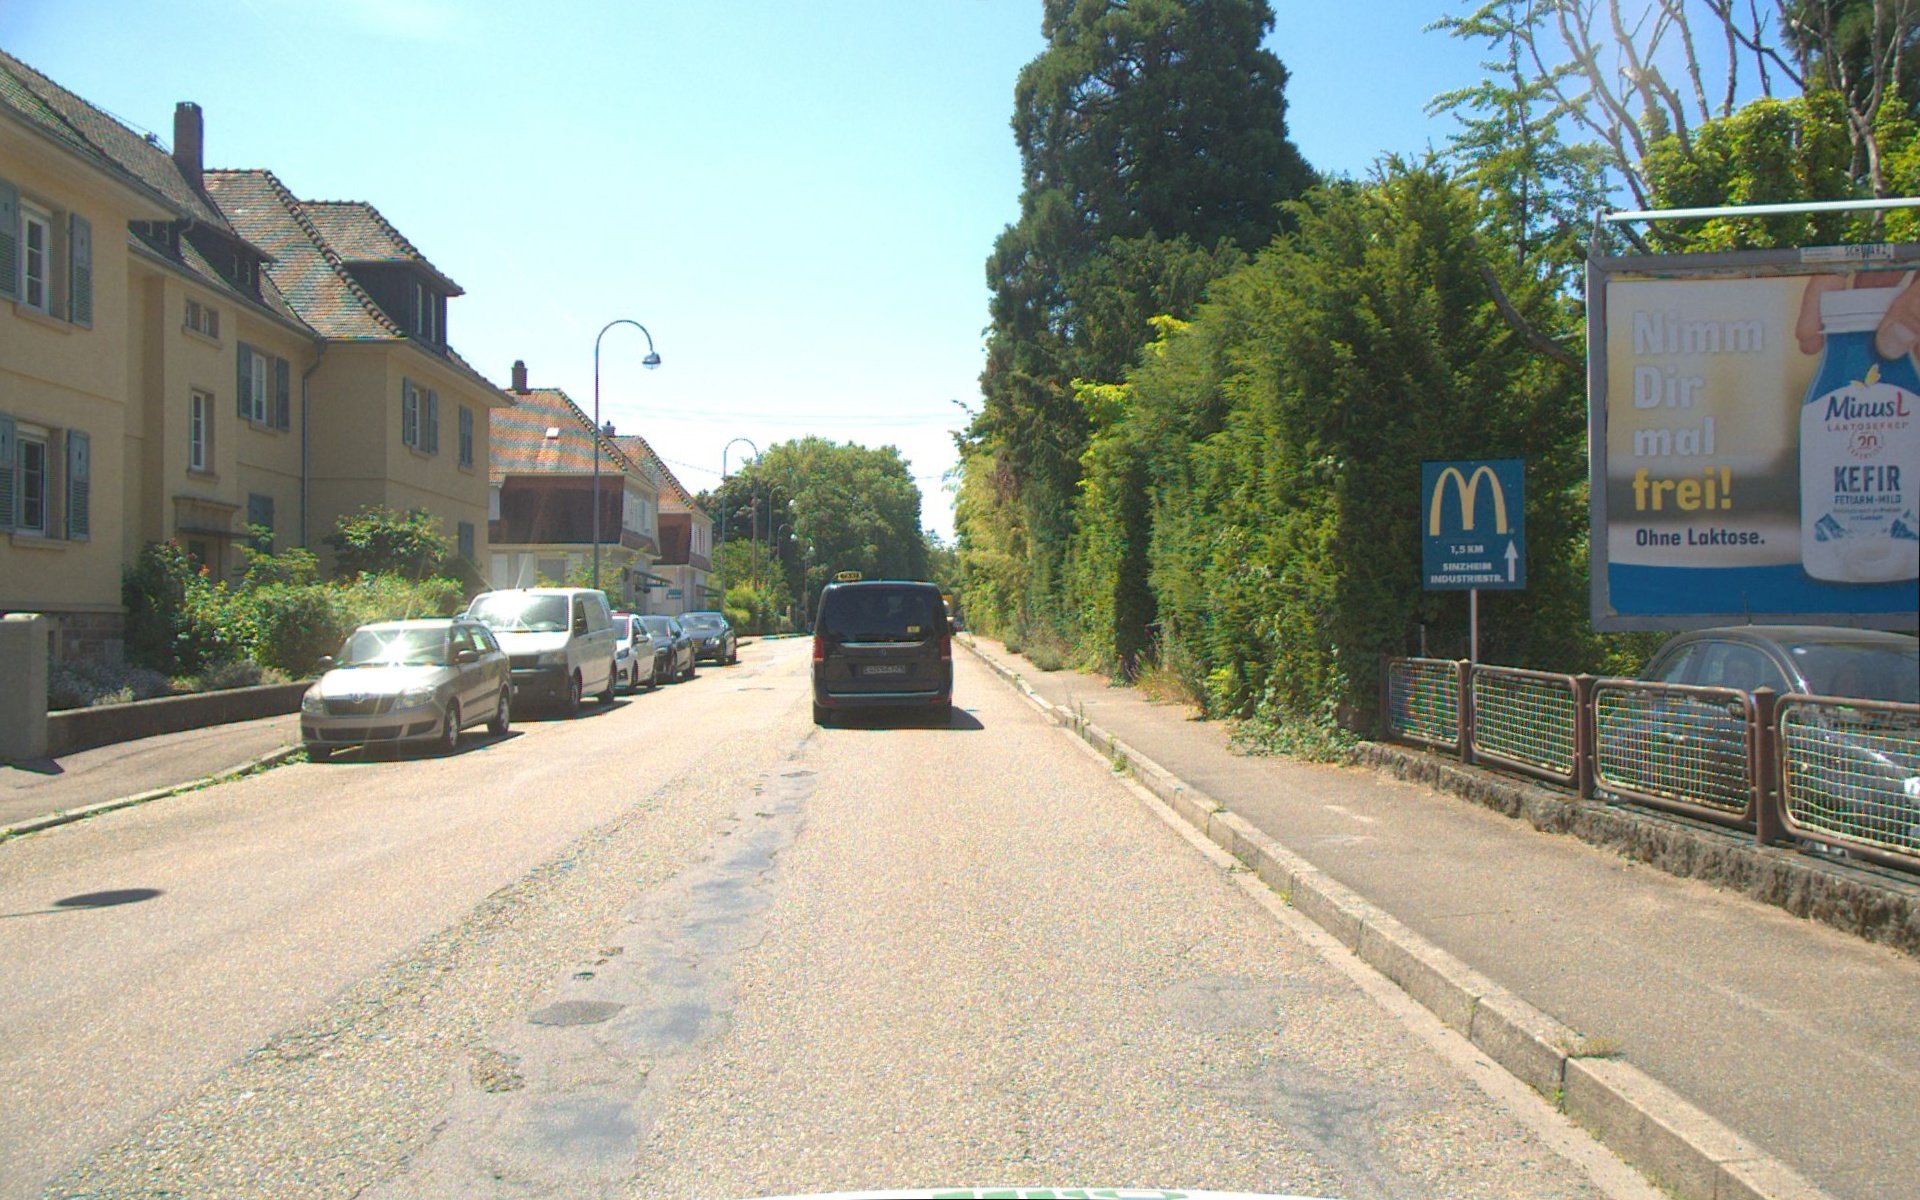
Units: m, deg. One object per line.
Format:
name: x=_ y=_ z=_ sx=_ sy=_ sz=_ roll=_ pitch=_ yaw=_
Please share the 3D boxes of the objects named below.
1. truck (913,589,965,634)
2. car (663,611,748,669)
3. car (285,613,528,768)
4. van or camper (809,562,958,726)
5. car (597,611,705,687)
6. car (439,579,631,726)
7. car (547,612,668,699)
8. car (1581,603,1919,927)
truck: x=-1.146 y=0.634 z=88.680 sx=2.310 sy=2.298 sz=6.085 roll=-1 pitch=-1 yaw=-5
car: x=-6.936 y=1.063 z=45.372 sx=1.632 sy=1.410 sz=4.379 roll=-2 pitch=0 yaw=0
car: x=-6.467 y=0.990 z=19.775 sx=1.653 sy=1.552 sz=4.060 roll=-3 pitch=0 yaw=-3
van or camper: x=-1.017 y=0.575 z=23.362 sx=1.864 sy=2.049 sz=5.268 roll=0 pitch=-1 yaw=-1
car: x=-6.686 y=1.025 z=36.197 sx=1.632 sy=1.519 sz=4.464 roll=-1 pitch=0 yaw=-2
car: x=-6.542 y=0.755 z=25.973 sx=1.840 sy=1.997 sz=4.624 roll=-3 pitch=0 yaw=-2
car: x=-6.664 y=1.006 z=31.584 sx=1.632 sy=1.519 sz=3.476 roll=-1 pitch=0 yaw=-2
car: x=5.102 y=0.817 z=9.401 sx=1.599 sy=1.484 sz=3.554 roll=3 pitch=-1 yaw=-3
